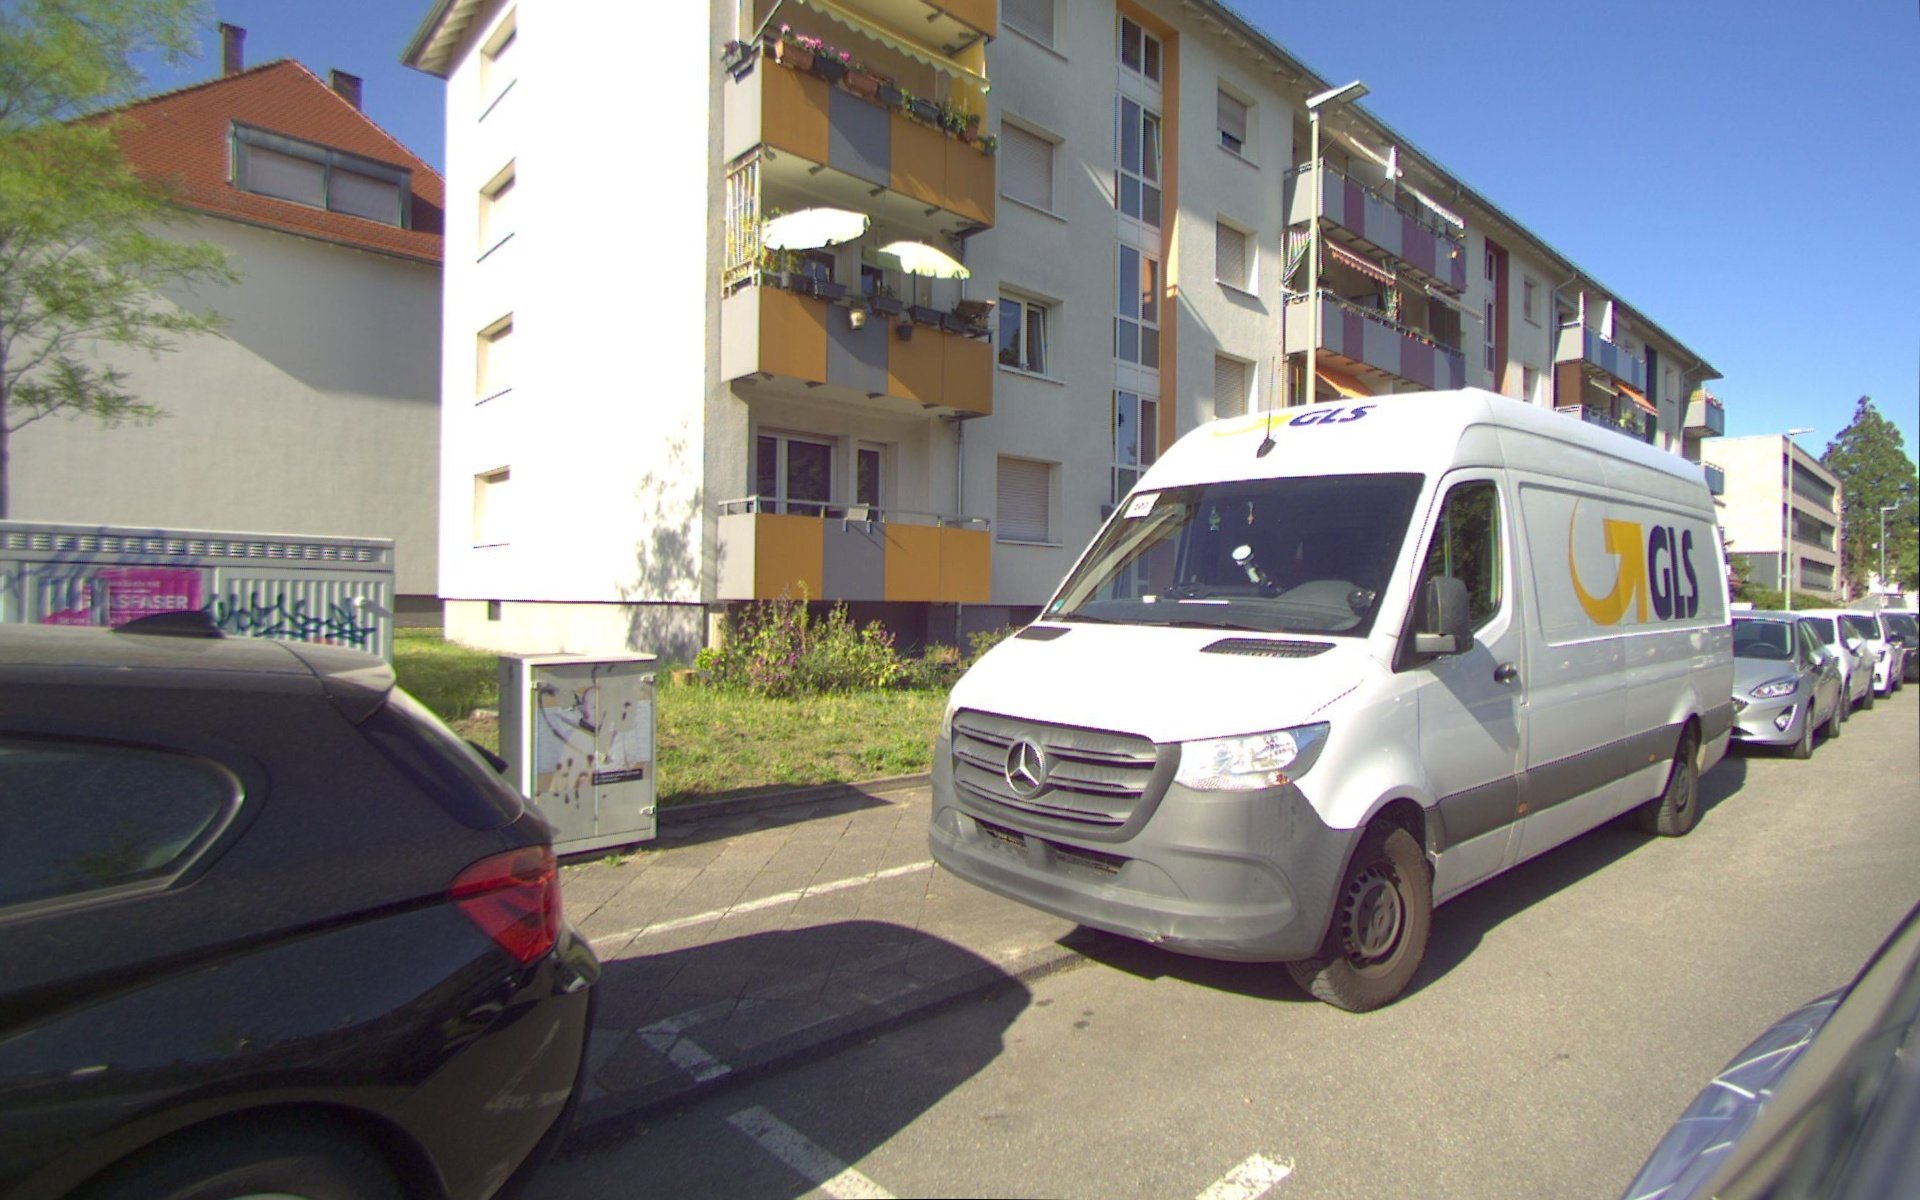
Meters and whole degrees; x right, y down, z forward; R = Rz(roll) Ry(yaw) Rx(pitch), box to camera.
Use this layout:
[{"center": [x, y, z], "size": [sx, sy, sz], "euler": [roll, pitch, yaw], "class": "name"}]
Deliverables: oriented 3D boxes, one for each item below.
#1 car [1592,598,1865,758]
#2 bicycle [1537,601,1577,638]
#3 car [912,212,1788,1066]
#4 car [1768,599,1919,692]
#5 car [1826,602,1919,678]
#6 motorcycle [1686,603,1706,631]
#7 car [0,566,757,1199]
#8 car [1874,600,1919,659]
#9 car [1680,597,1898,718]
[{"center": [8.846, 0.747, 11.513], "size": [4.132, 1.484, 1.850], "euler": [1, -1, -44], "class": "car"}, {"center": [18.495, 0.599, 31.327], "size": [1.976, 1.084, 0.524], "euler": [0, 2, -43], "class": "bicycle"}, {"center": [3.021, 0.108, 6.288], "size": [6.721, 2.746, 2.147], "euler": [0, 1, -41], "class": "car"}, {"center": [16.083, 0.737, 18.258], "size": [4.081, 1.453, 1.723], "euler": [0, 1, -42], "class": "car"}, {"center": [20.073, 0.795, 21.802], "size": [4.397, 1.453, 1.701], "euler": [0, 2, -44], "class": "car"}, {"center": [31.323, 0.713, 43.059], "size": [0.581, 1.166, 2.009], "euler": [0, 0, 38], "class": "motorcycle"}, {"center": [-2.729, 0.689, 1.426], "size": [4.423, 1.500, 1.961], "euler": [0, 2, -43], "class": "car"}, {"center": [26.200, 0.783, 27.606], "size": [1.748, 1.518, 3.799], "euler": [1, 1, 44], "class": "car"}, {"center": [12.142, 0.726, 14.739], "size": [4.069, 1.494, 1.880], "euler": [0, 0, -42], "class": "car"}]
